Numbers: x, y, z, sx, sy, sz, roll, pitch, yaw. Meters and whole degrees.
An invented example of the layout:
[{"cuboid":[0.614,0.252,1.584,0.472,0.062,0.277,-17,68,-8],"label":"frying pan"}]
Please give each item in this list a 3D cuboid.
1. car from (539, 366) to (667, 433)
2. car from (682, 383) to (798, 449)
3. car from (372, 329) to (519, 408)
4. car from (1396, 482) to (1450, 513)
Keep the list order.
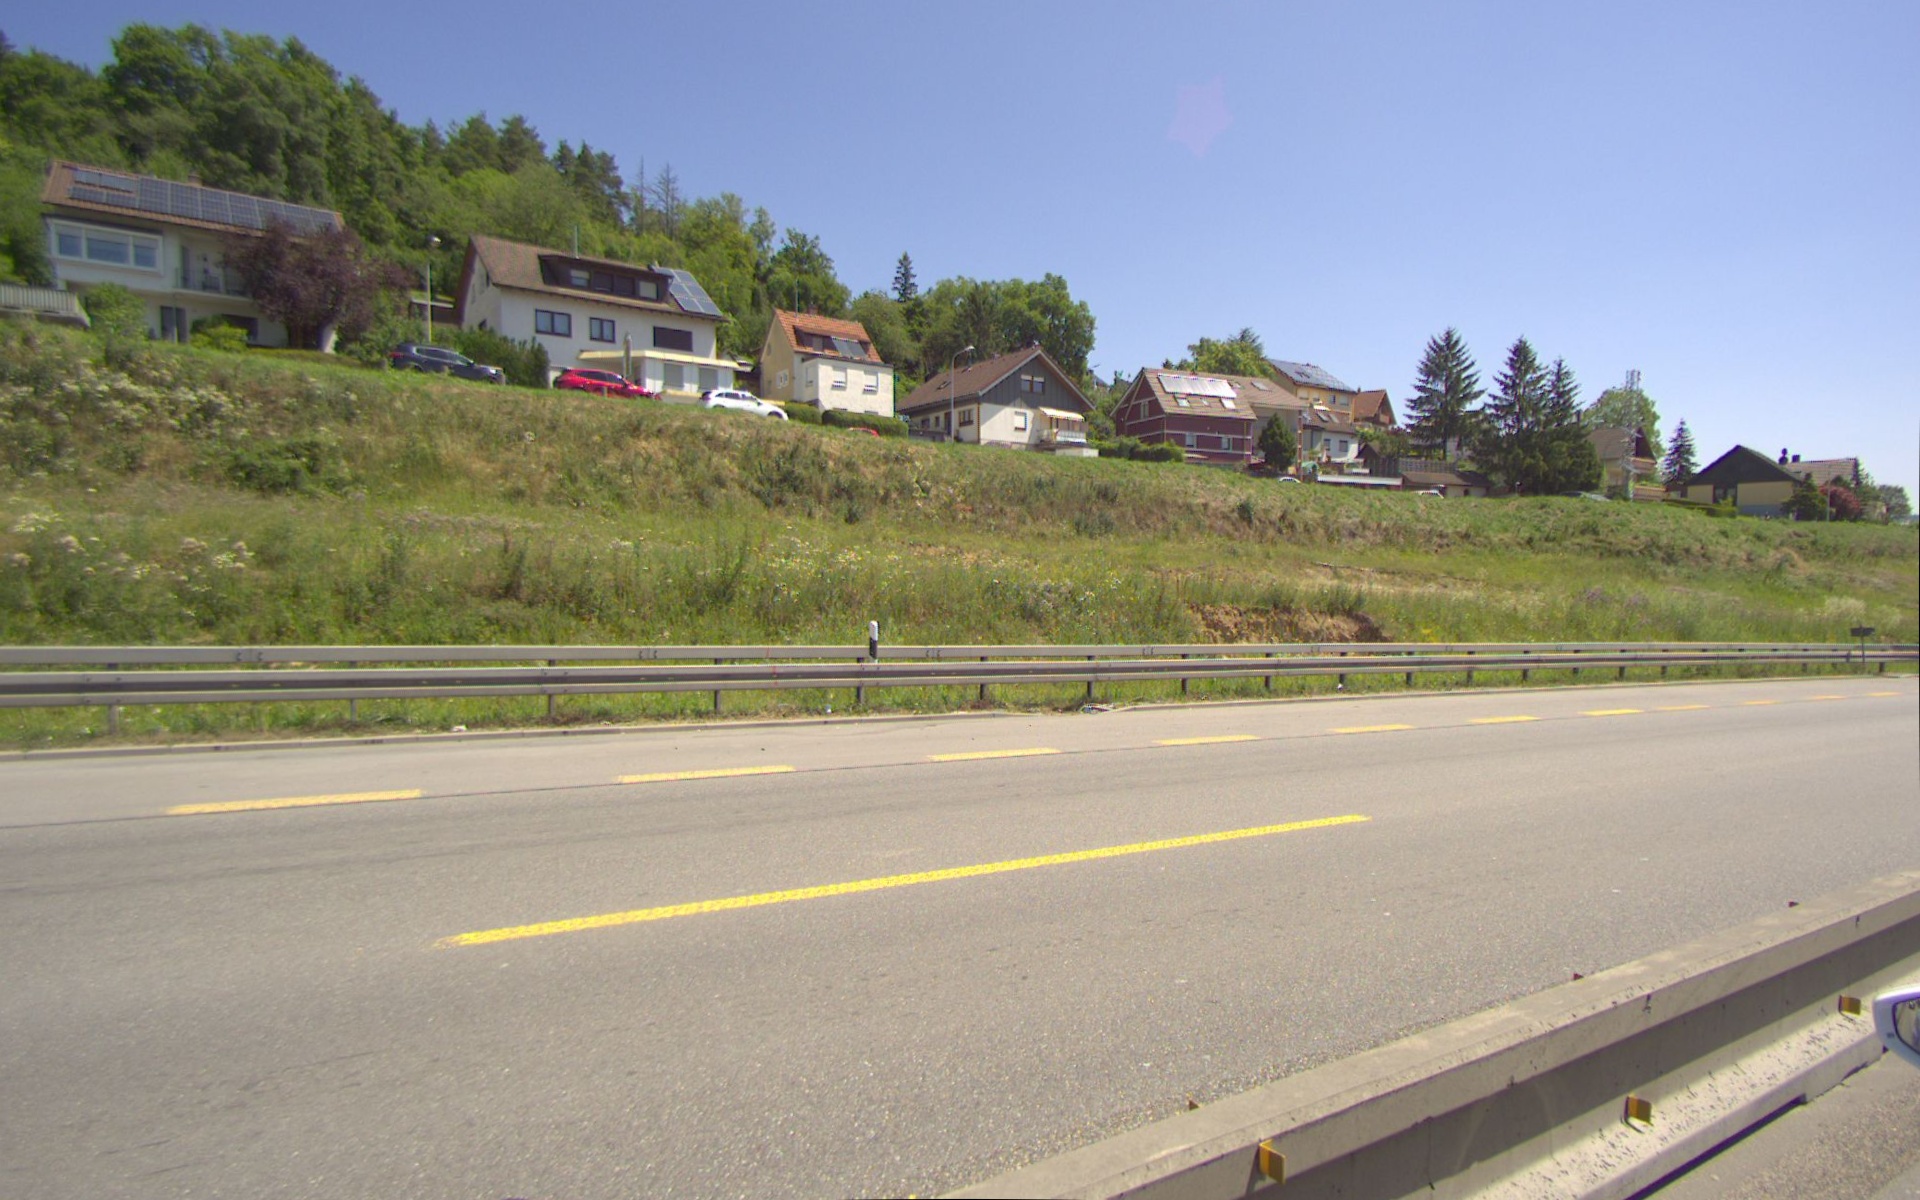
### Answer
[{"cuboid":[-15.376,-8.575,43.287,4.751,1.817,2.334,3,-1,-34],"label":"car"},{"cuboid":[-10.241,-8.489,46.831,4.767,2.068,2.334,3,-1,-33],"label":"car"},{"cuboid":[-19.726,-8.807,38.609,4.720,1.817,2.162,3,-1,-37],"label":"car"},{"cuboid":[38.340,-8.448,83.171,3.946,2.040,1.988,3,0,-25],"label":"car"}]
